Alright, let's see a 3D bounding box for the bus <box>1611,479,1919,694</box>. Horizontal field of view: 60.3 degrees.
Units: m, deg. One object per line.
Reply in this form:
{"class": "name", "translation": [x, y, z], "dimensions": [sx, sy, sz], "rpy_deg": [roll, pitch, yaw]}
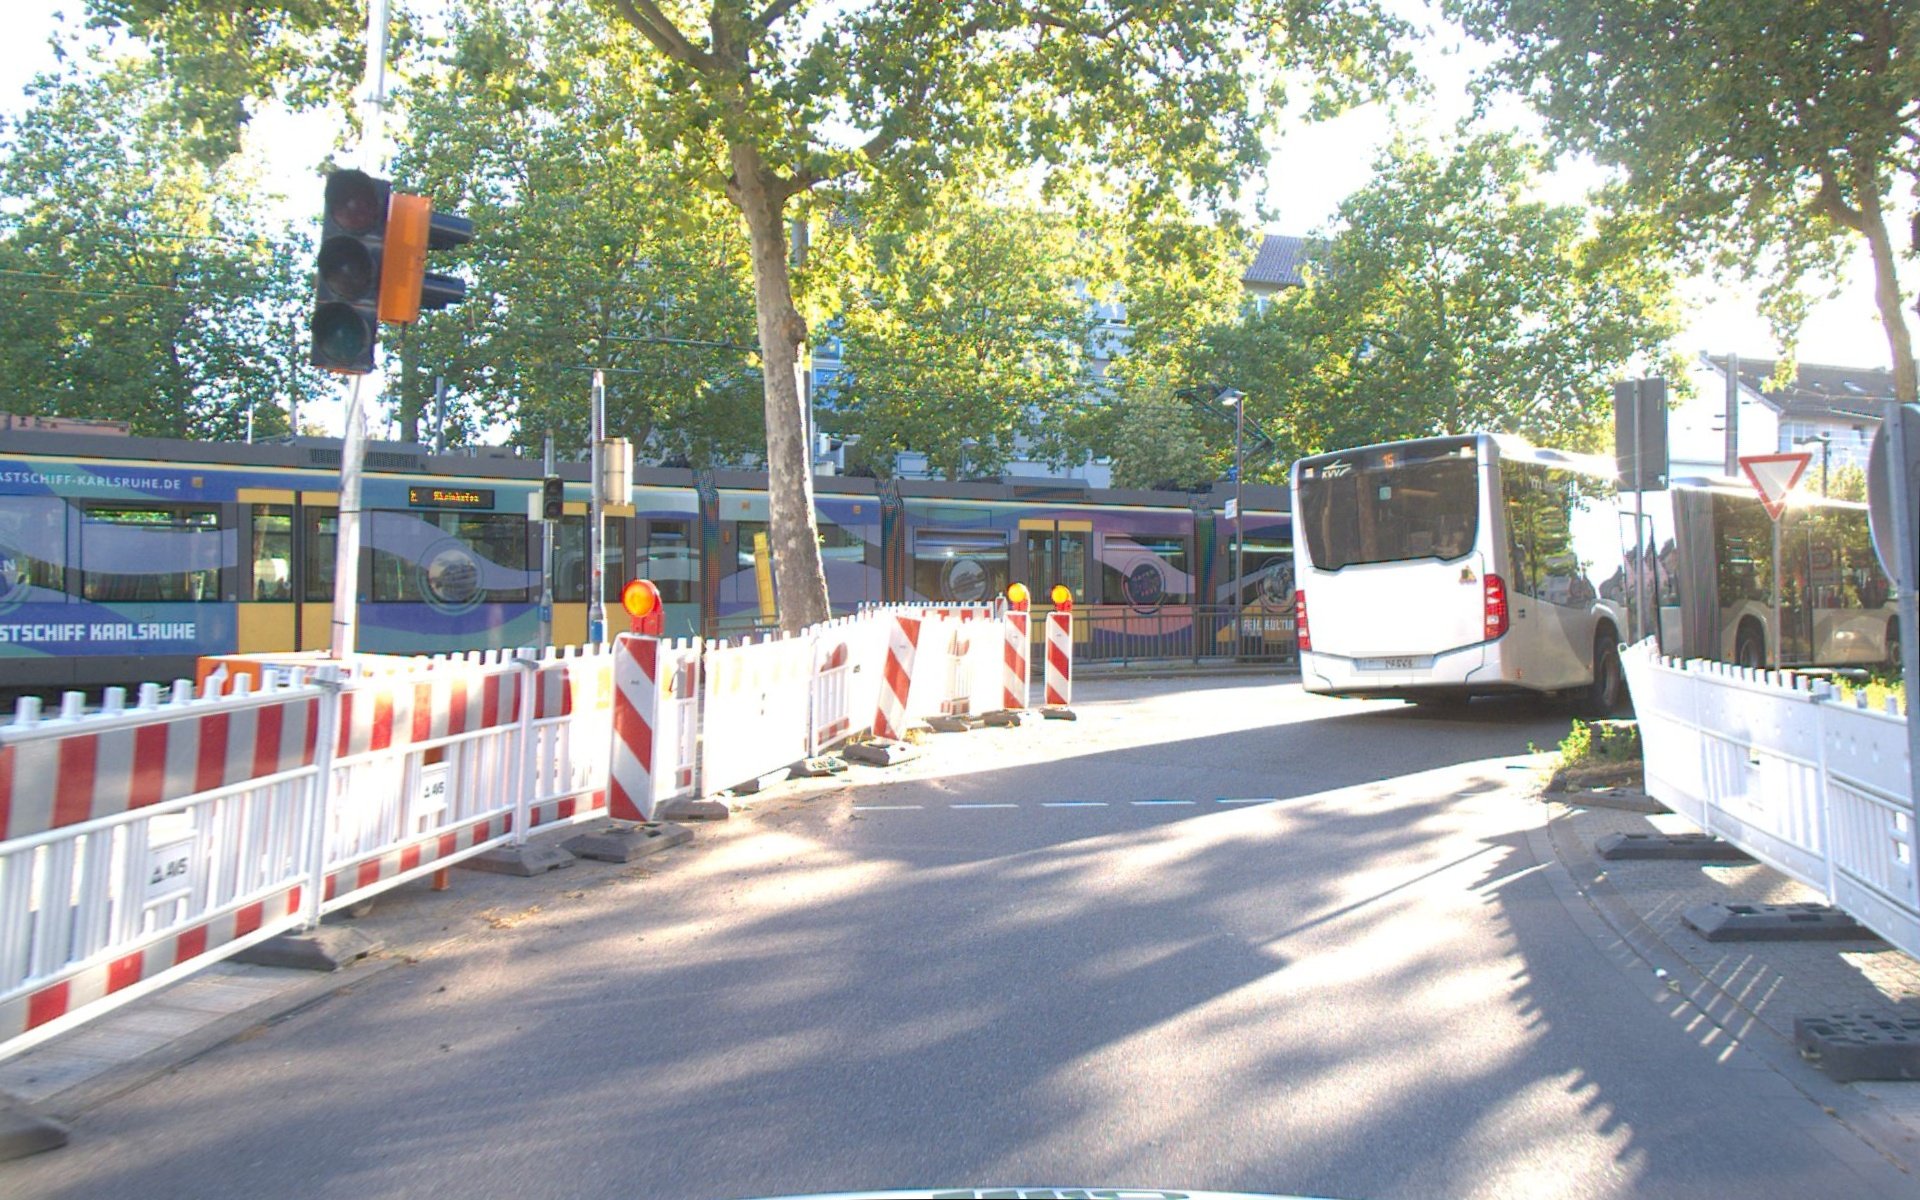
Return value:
{"class": "bus", "translation": [14.584, -0.267, 28.230], "dimensions": [8.898, 3.161, 2.677], "rpy_deg": [-1, 1, -41]}

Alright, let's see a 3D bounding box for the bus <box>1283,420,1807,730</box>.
{"class": "bus", "translation": [8.243, -0.338, 21.954], "dimensions": [2.694, 3.193, 10.637], "rpy_deg": [1, 1, 42]}

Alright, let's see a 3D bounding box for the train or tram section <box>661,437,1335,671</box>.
{"class": "train or tram section", "translation": [1.088, -0.687, 29.812], "dimensions": [12.604, 3.611, 2.711], "rpy_deg": [0, 0, -30]}

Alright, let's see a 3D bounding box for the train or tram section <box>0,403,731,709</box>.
{"class": "train or tram section", "translation": [-9.578, -0.509, 22.521], "dimensions": [13.258, 3.595, 2.820], "rpy_deg": [0, 0, -38]}

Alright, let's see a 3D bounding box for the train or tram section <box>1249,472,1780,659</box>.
{"class": "train or tram section", "translation": [12.357, -0.643, 35.962], "dimensions": [13.133, 3.581, 2.626], "rpy_deg": [0, 0, -28]}
